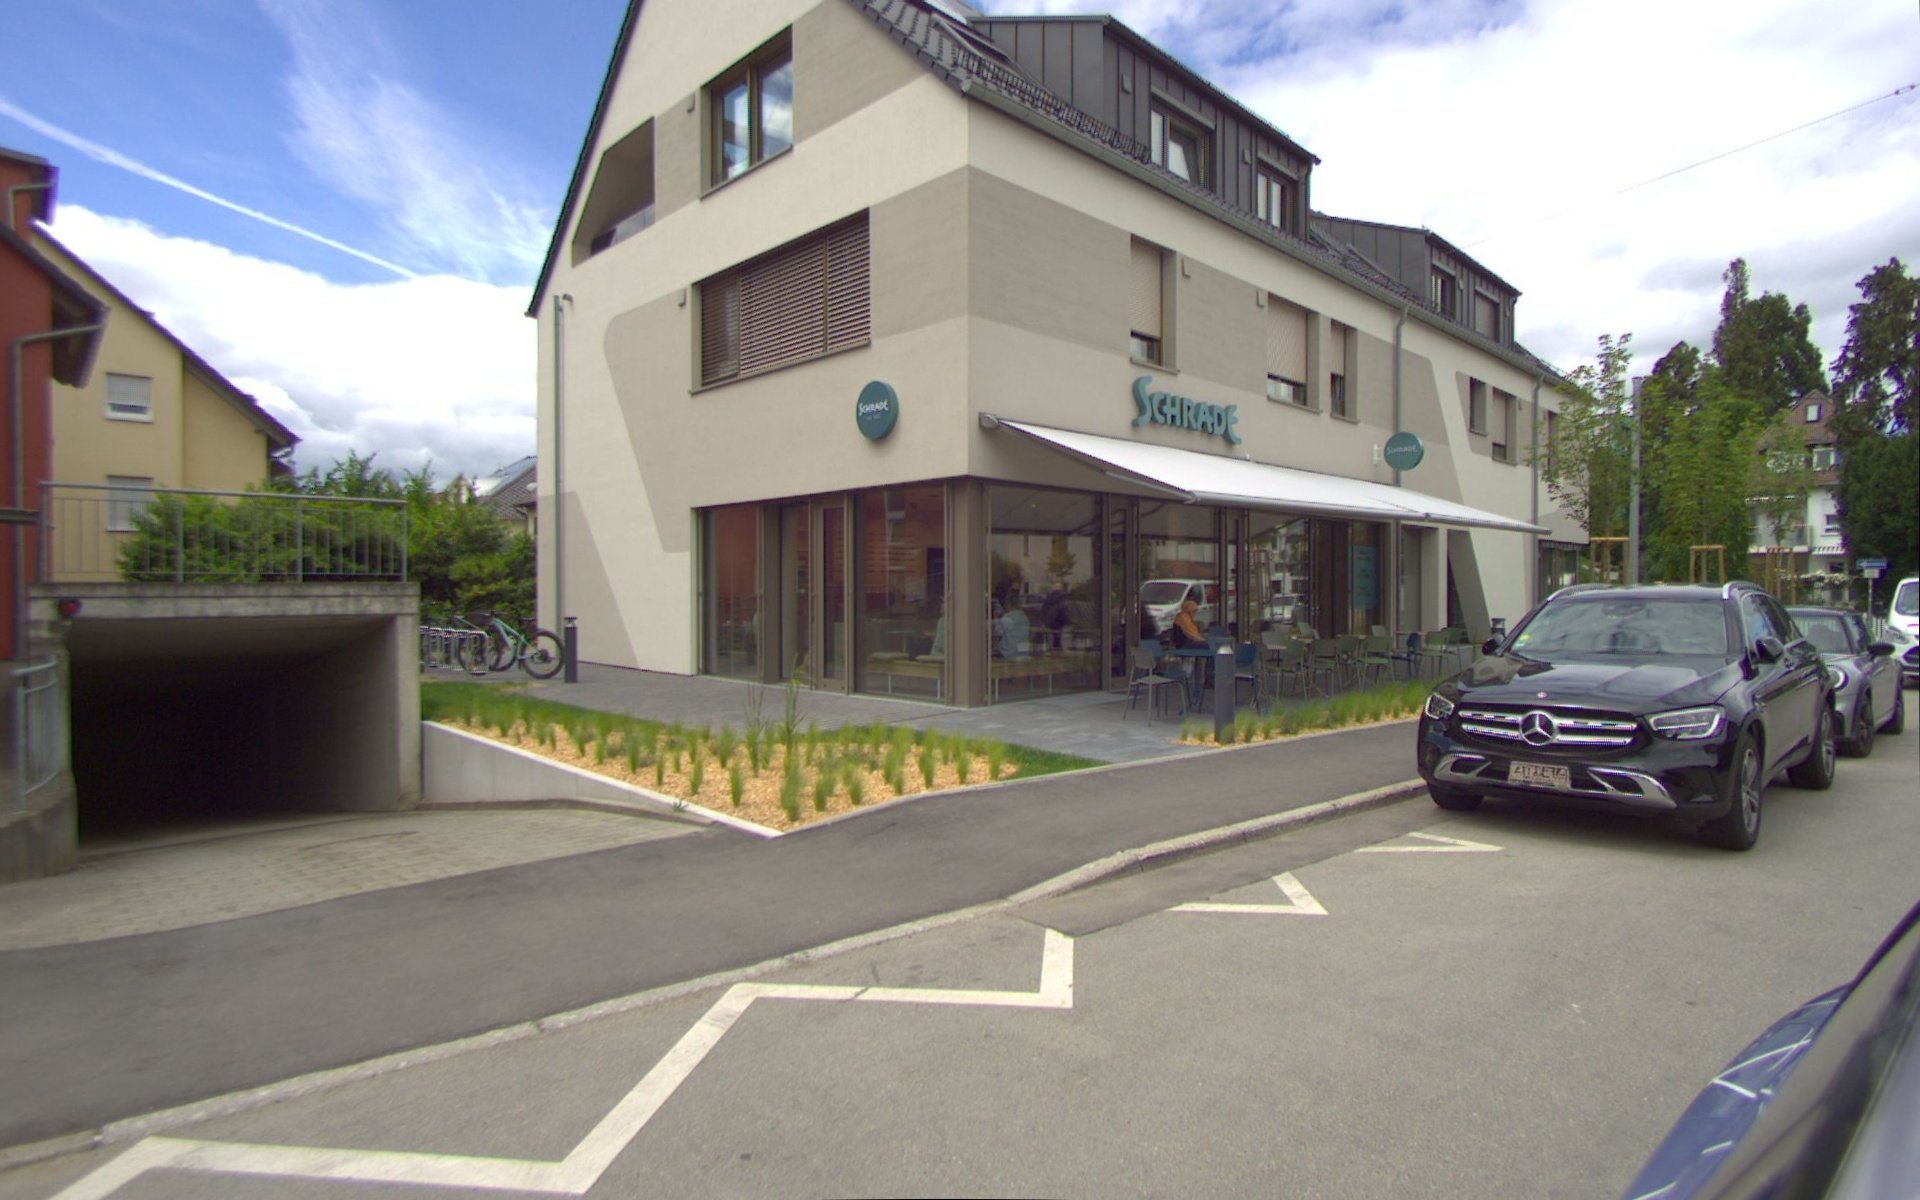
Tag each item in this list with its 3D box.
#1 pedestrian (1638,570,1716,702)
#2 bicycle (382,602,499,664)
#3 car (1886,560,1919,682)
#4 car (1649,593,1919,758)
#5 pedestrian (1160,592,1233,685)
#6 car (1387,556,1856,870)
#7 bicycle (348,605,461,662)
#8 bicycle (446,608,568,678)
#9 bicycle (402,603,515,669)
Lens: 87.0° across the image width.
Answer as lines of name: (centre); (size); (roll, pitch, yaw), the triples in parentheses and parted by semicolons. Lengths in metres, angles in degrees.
pedestrian: (9.520, 0.457, 13.438); (0.648, 1.690, 0.678); (0, 1, -39)
bicycle: (-9.528, 0.598, 18.593); (1.898, 1.120, 0.461); (0, 1, 0)
car: (18.540, 0.325, 18.243); (5.468, 2.039, 1.997); (0, -1, -40)
car: (9.030, 0.674, 10.932); (3.768, 1.471, 1.710); (0, 0, -41)
pedestrian: (3.317, 0.519, 14.179); (0.681, 1.254, 0.751); (0, 0, -45)
car: (5.100, 0.591, 7.529); (4.389, 1.657, 1.849); (0, 0, -42)
bicycle: (-10.592, 0.635, 19.305); (1.898, 1.065, 0.461); (0, 1, 0)
bicycle: (-7.180, 0.672, 16.072); (1.751, 1.065, 0.461); (0, 1, 3)
bicycle: (-8.650, 0.615, 17.477); (1.751, 1.096, 0.461); (0, 1, 3)
